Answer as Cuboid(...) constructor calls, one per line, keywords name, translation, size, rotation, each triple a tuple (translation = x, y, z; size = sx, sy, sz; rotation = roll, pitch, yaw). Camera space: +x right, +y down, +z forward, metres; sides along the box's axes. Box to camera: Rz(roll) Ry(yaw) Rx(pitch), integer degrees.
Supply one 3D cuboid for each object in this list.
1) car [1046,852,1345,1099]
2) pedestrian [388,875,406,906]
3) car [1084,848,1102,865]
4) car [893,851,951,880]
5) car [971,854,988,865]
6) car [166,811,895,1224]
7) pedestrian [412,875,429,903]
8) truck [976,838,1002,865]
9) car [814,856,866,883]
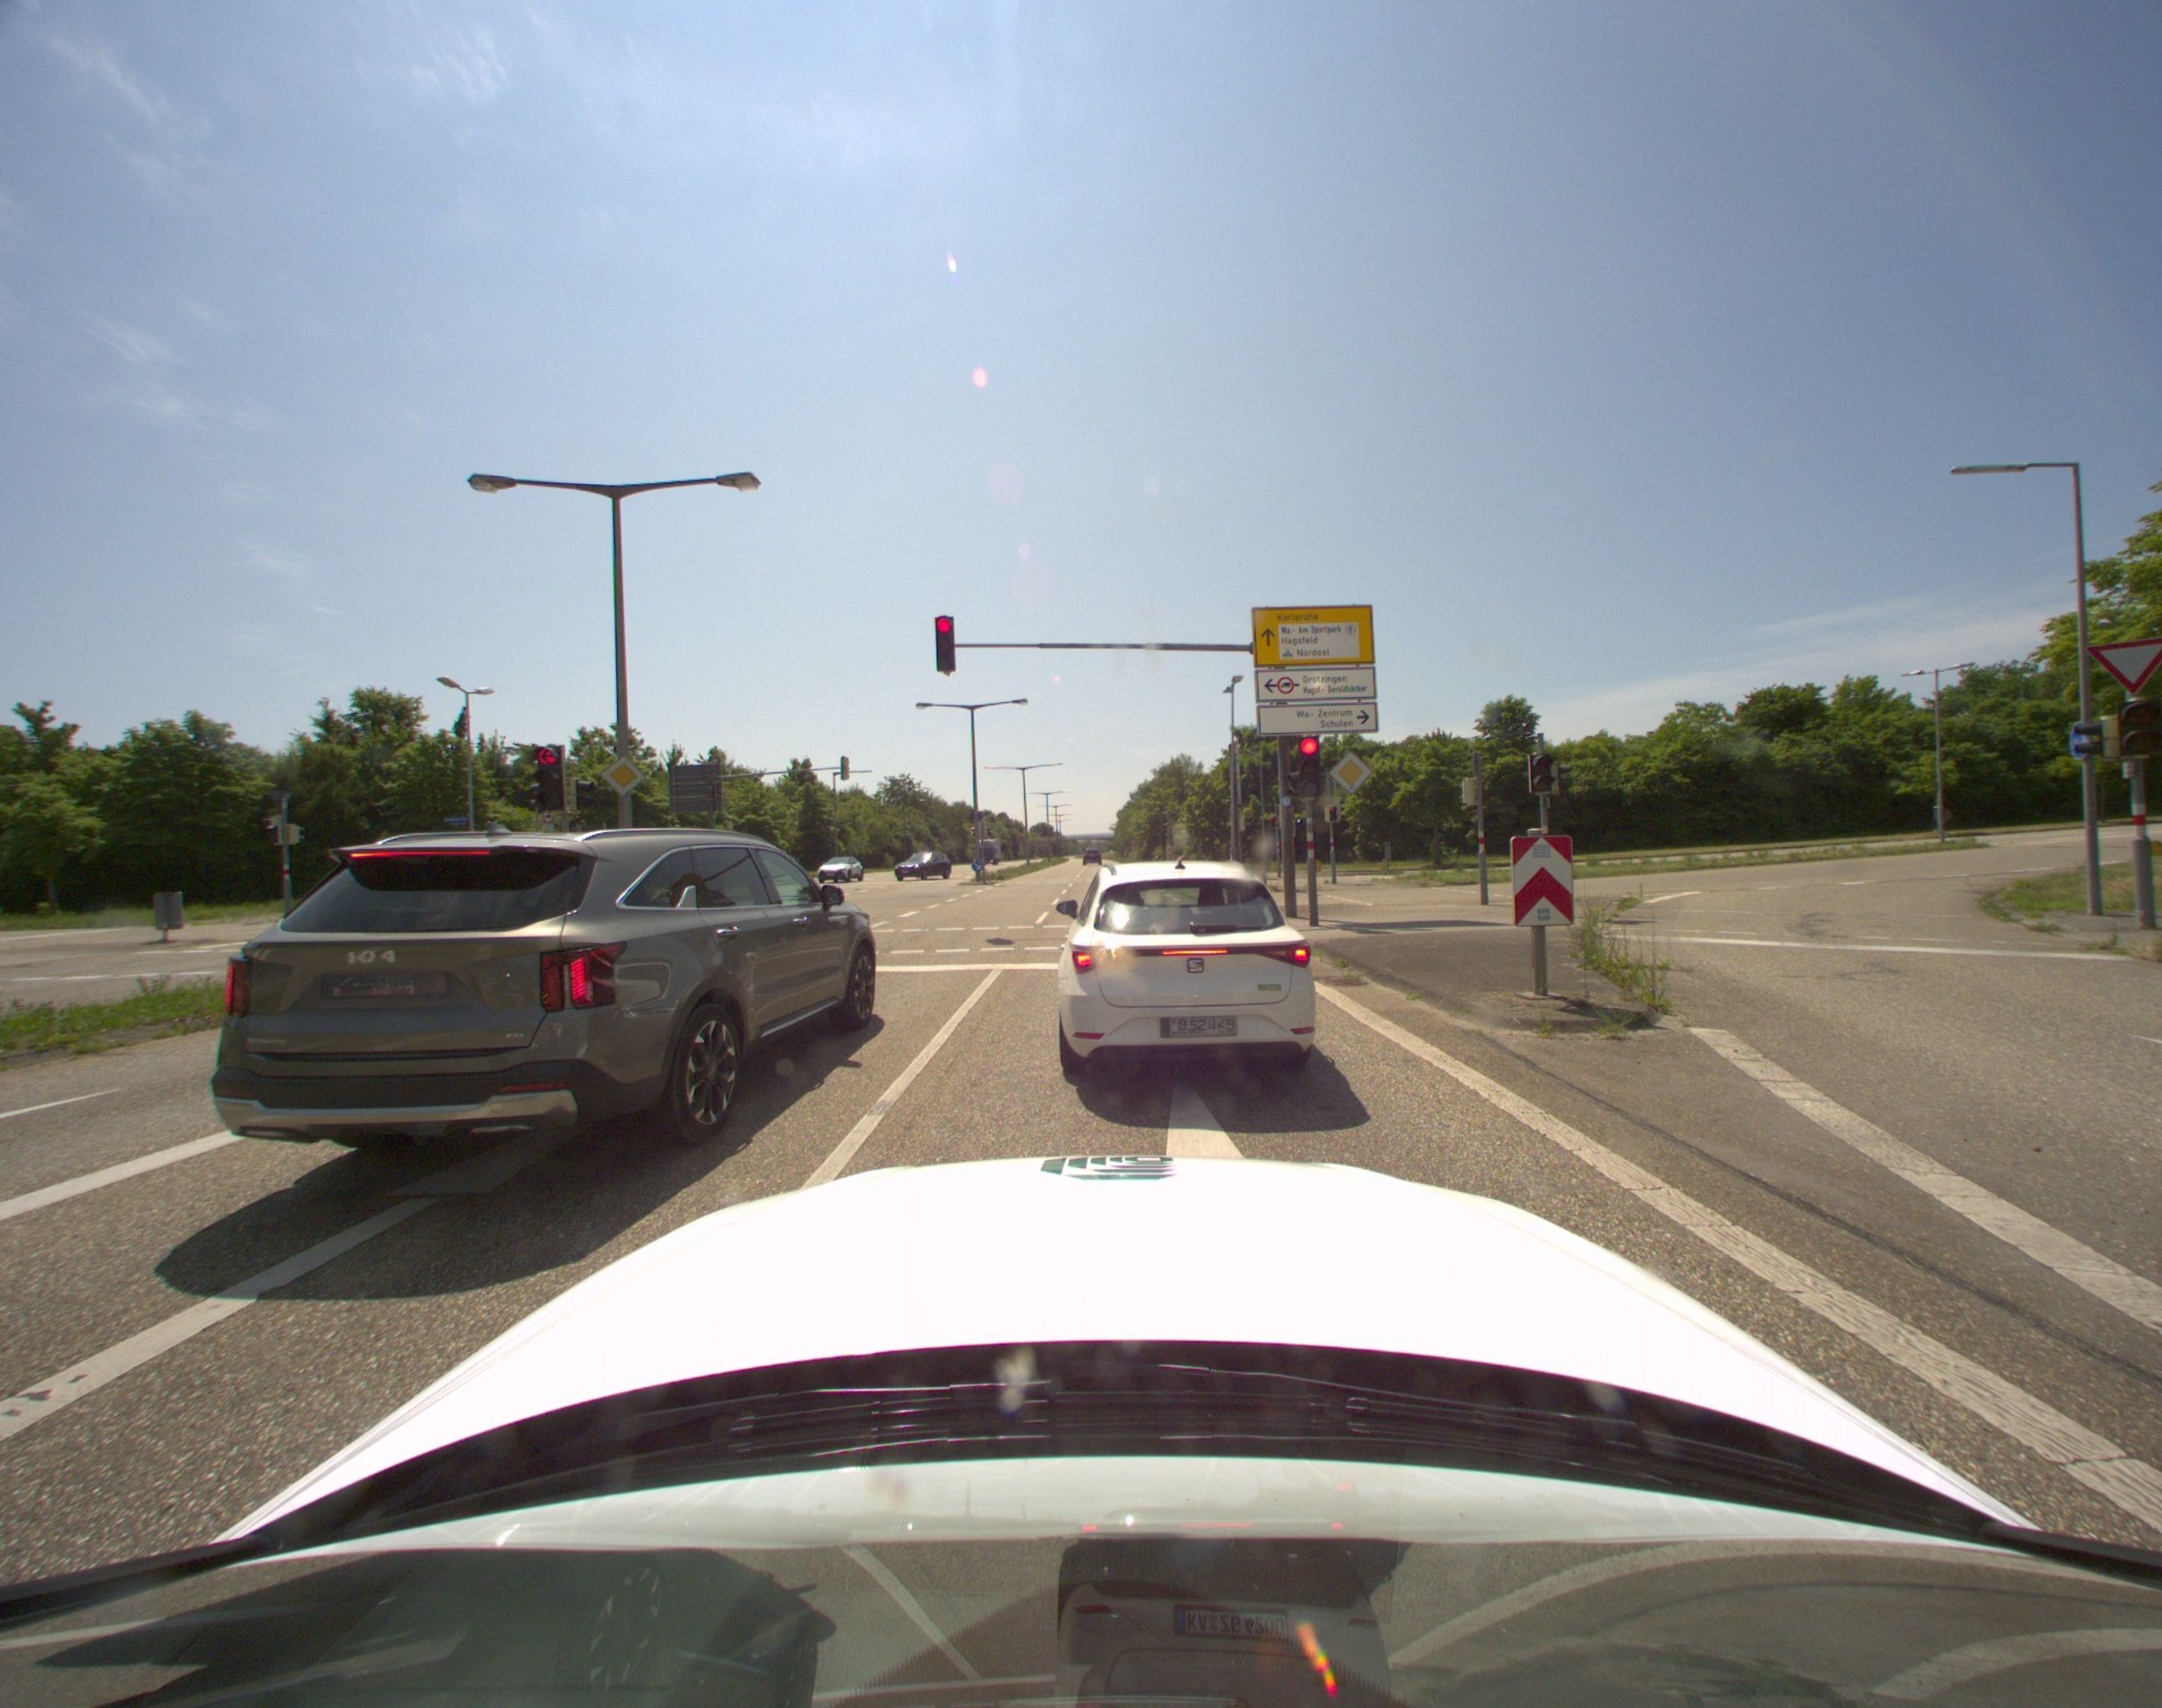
Cuboid(name="car", translation=(0.723, 0.726, 6.594), size=(1.728, 1.428, 3.696), rotation=(0, -1, 2))
Cuboid(name="pedestrian", translation=(-37.510, 1.991, 44.656), size=(0.620, 1.603, 0.790), rotation=(-2, 0, -34))
Cuboid(name="car", translation=(1.357, 0.265, 90.759), size=(1.847, 1.709, 4.004), rotation=(-2, 0, 3))
Cuboid(name="car", translation=(-9.809, 0.685, 50.658), size=(1.693, 1.663, 4.242), rotation=(-2, 0, 17))
Cuboid(name="car", translation=(-15.917, 0.859, 127.885), size=(1.816, 1.732, 4.928), rotation=(-2, 0, 2))
Cuboid(name="car", translation=(-2.831, 0.683, 5.715), size=(1.797, 1.662, 4.646), rotation=(-2, 0, 2))
Cuboid(name="pedestrian", translation=(-36.661, 1.952, 45.183), size=(0.620, 1.503, 0.790), rotation=(-2, 0, -34))
Cuboid(name="truck", translation=(-12.962, -0.370, 115.254), size=(2.677, 3.570, 7.269), rotation=(-2, 0, 1))
Cuboid(name="car", translation=(-14.721, 0.927, 49.999), size=(1.816, 1.455, 4.170), rotation=(-2, 0, 2))
